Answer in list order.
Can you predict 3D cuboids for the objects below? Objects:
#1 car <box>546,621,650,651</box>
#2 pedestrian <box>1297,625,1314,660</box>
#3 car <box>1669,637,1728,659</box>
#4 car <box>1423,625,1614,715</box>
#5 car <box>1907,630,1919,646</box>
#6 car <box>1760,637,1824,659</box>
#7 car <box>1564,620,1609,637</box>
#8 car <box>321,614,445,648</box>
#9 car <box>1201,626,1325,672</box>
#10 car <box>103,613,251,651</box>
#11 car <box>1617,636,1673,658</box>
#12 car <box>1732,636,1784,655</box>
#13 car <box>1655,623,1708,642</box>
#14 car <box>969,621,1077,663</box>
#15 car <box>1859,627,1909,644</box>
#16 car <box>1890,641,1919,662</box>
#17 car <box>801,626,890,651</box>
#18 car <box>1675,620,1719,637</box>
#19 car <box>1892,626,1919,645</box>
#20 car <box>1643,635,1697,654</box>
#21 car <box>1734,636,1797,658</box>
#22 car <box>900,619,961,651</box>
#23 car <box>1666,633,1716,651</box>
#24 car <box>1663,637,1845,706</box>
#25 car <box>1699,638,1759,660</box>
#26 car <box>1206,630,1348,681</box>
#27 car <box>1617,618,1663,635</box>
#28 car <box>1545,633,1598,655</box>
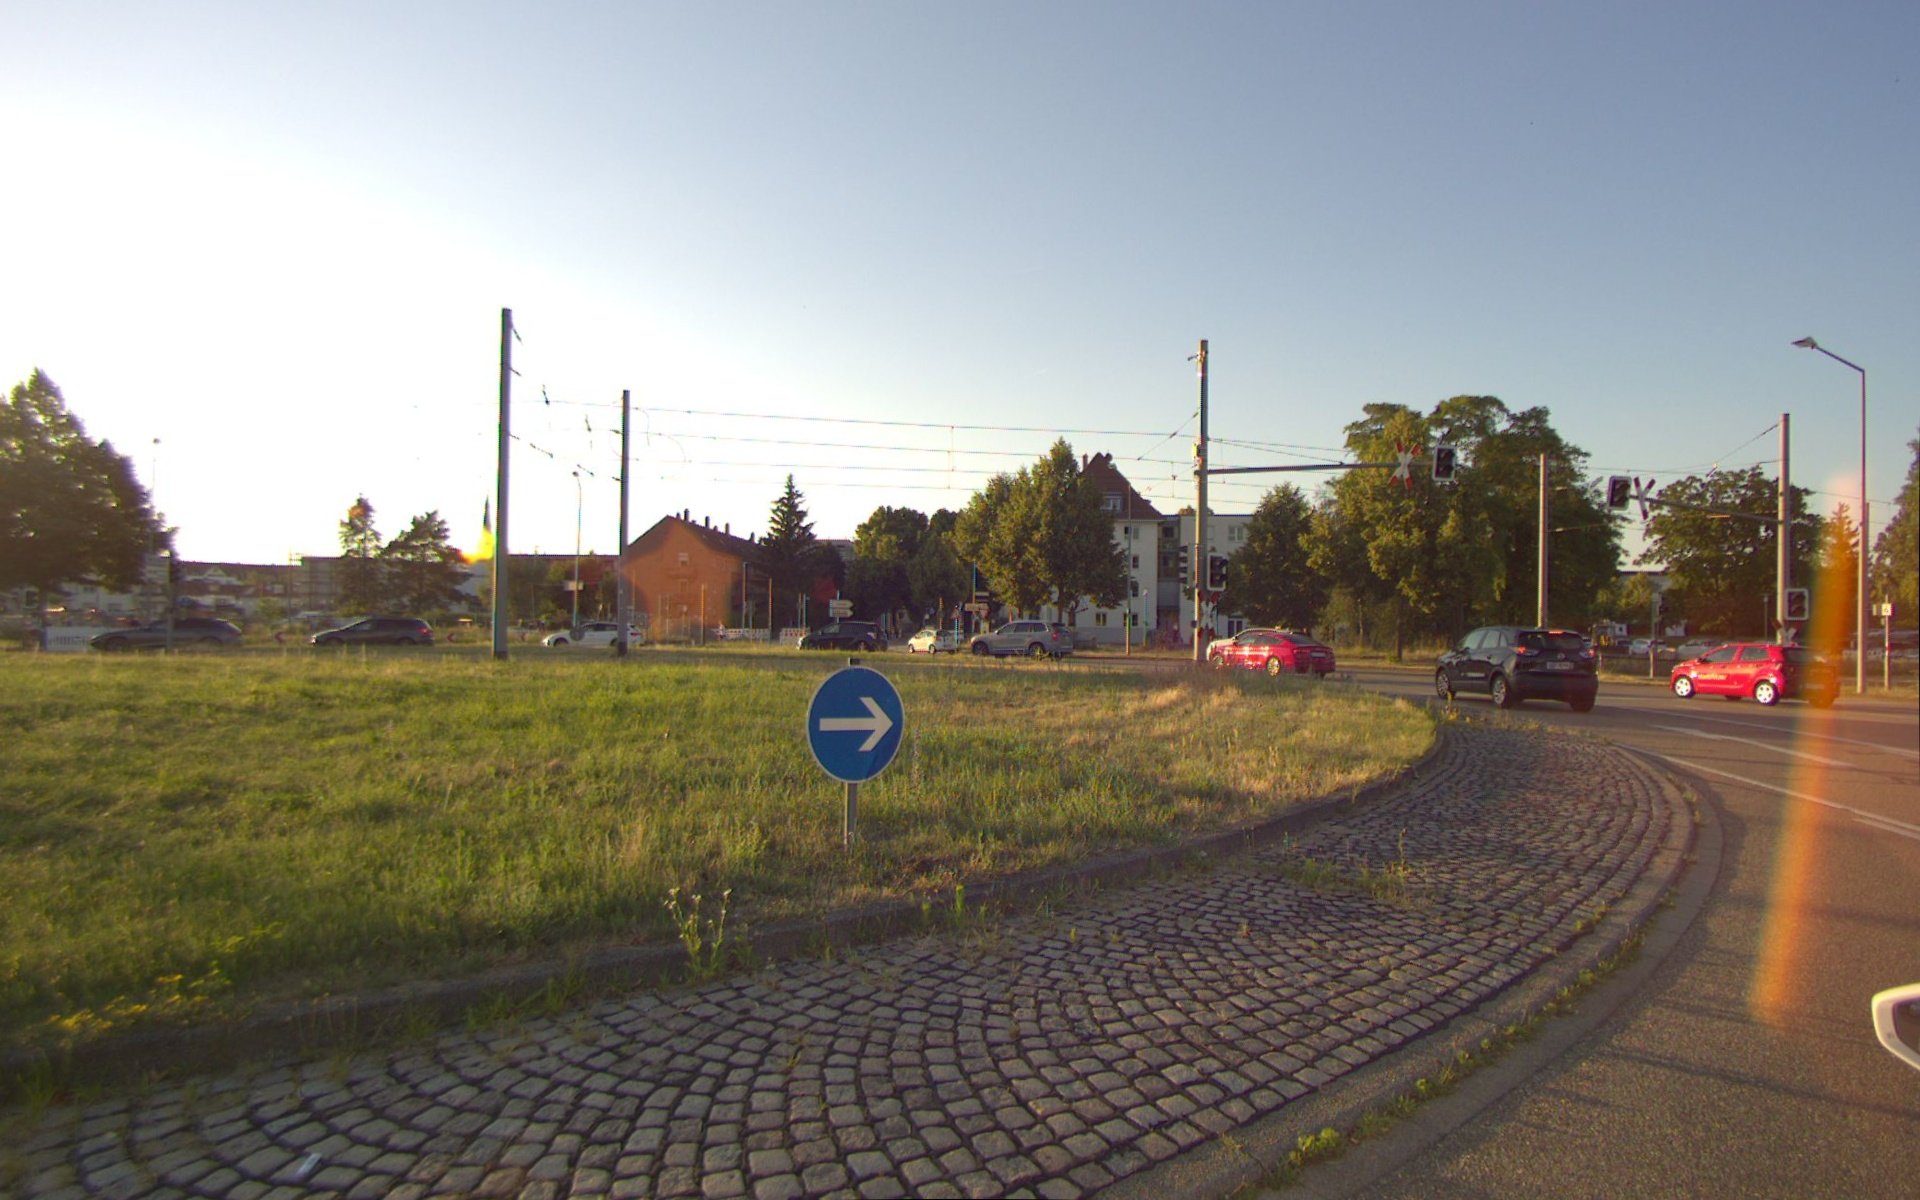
[{"bbox_3d":[-17.769,1.763,49.526,4.382,1.385,2.109,1,-1,-5],"label":"car"},{"bbox_3d":[19.314,2.377,56.145,0.614,1.918,0.662,2,0,-35],"label":"pedestrian"},{"bbox_3d":[59.498,3.848,81.030,1.960,1.625,4.002,1,-1,3],"label":"car"},{"bbox_3d":[11.247,1.335,20.565,1.857,1.605,4.002,1,-1,3],"label":"car"},{"bbox_3d":[105.567,4.109,108.712,1.971,1.728,3.979,1,-1,-22],"label":"car"},{"bbox_3d":[66.351,3.786,80.162,1.960,1.625,4.002,1,-1,3],"label":"car"},{"bbox_3d":[79.561,3.651,127.616,4.507,2.040,2.000,1,-1,0],"label":"car"},{"bbox_3d":[-24.319,1.314,42.561,4.323,1.394,1.989,1,-1,-24],"label":"car"},{"bbox_3d":[12.617,1.994,42.020,1.984,1.728,4.660,1,-1,-41],"label":"car"},{"bbox_3d":[-30.682,1.256,39.560,4.299,1.394,1.985,1,-1,-29],"label":"car"},{"bbox_3d":[54.738,3.700,80.329,1.960,1.625,4.002,1,-1,3],"label":"car"},{"bbox_3d":[77.329,4.417,97.407,3.938,1.684,1.894,0,-1,39],"label":"car"},{"bbox_3d":[80.211,3.645,111.732,4.507,2.040,2.000,1,-1,0],"label":"car"},{"bbox_3d":[2.800,1.860,45.174,4.555,1.759,1.889,0,-1,37],"label":"car"},{"bbox_3d":[108.014,4.126,117.441,3.919,1.840,2.001,1,-1,5],"label":"car"},{"bbox_3d":[76.334,4.085,79.467,1.960,1.625,4.002,1,-1,3],"label":"car"},{"bbox_3d":[-5.550,1.834,48.608,3.921,1.119,1.690,0,-1,20],"label":"car"},{"bbox_3d":[93.187,3.588,127.023,4.033,2.040,2.001,1,-1,4],"label":"car"},{"bbox_3d":[107.434,4.026,112.589,3.919,2.040,2.001,1,-1,11],"label":"car"},{"bbox_3d":[69.192,4.328,97.924,3.919,1.684,1.904,1,-1,5],"label":"car"},{"bbox_3d":[63.997,3.714,79.923,1.960,1.625,4.002,1,-1,3],"label":"car"},{"bbox_3d":[-1.851,2.134,61.401,1.979,1.840,3.964,1,-1,-33],"label":"car"},{"bbox_3d":[73.143,4.186,100.568,3.934,1.684,1.994,0,-1,35],"label":"car"},{"bbox_3d":[19.673,1.733,25.085,1.612,1.519,3.488,1,-1,-6],"label":"car"},{"bbox_3d":[61.617,3.909,80.553,1.960,1.625,4.002,1,-1,3],"label":"car"},{"bbox_3d":[9.782,1.678,31.358,1.867,1.410,4.476,1,-1,-21],"label":"car"},{"bbox_3d":[86.236,3.382,127.432,4.505,2.040,2.001,1,-1,5],"label":"car"},{"bbox_3d":[49.396,3.543,81.221,1.960,1.625,4.002,1,-1,3],"label":"car"}]
